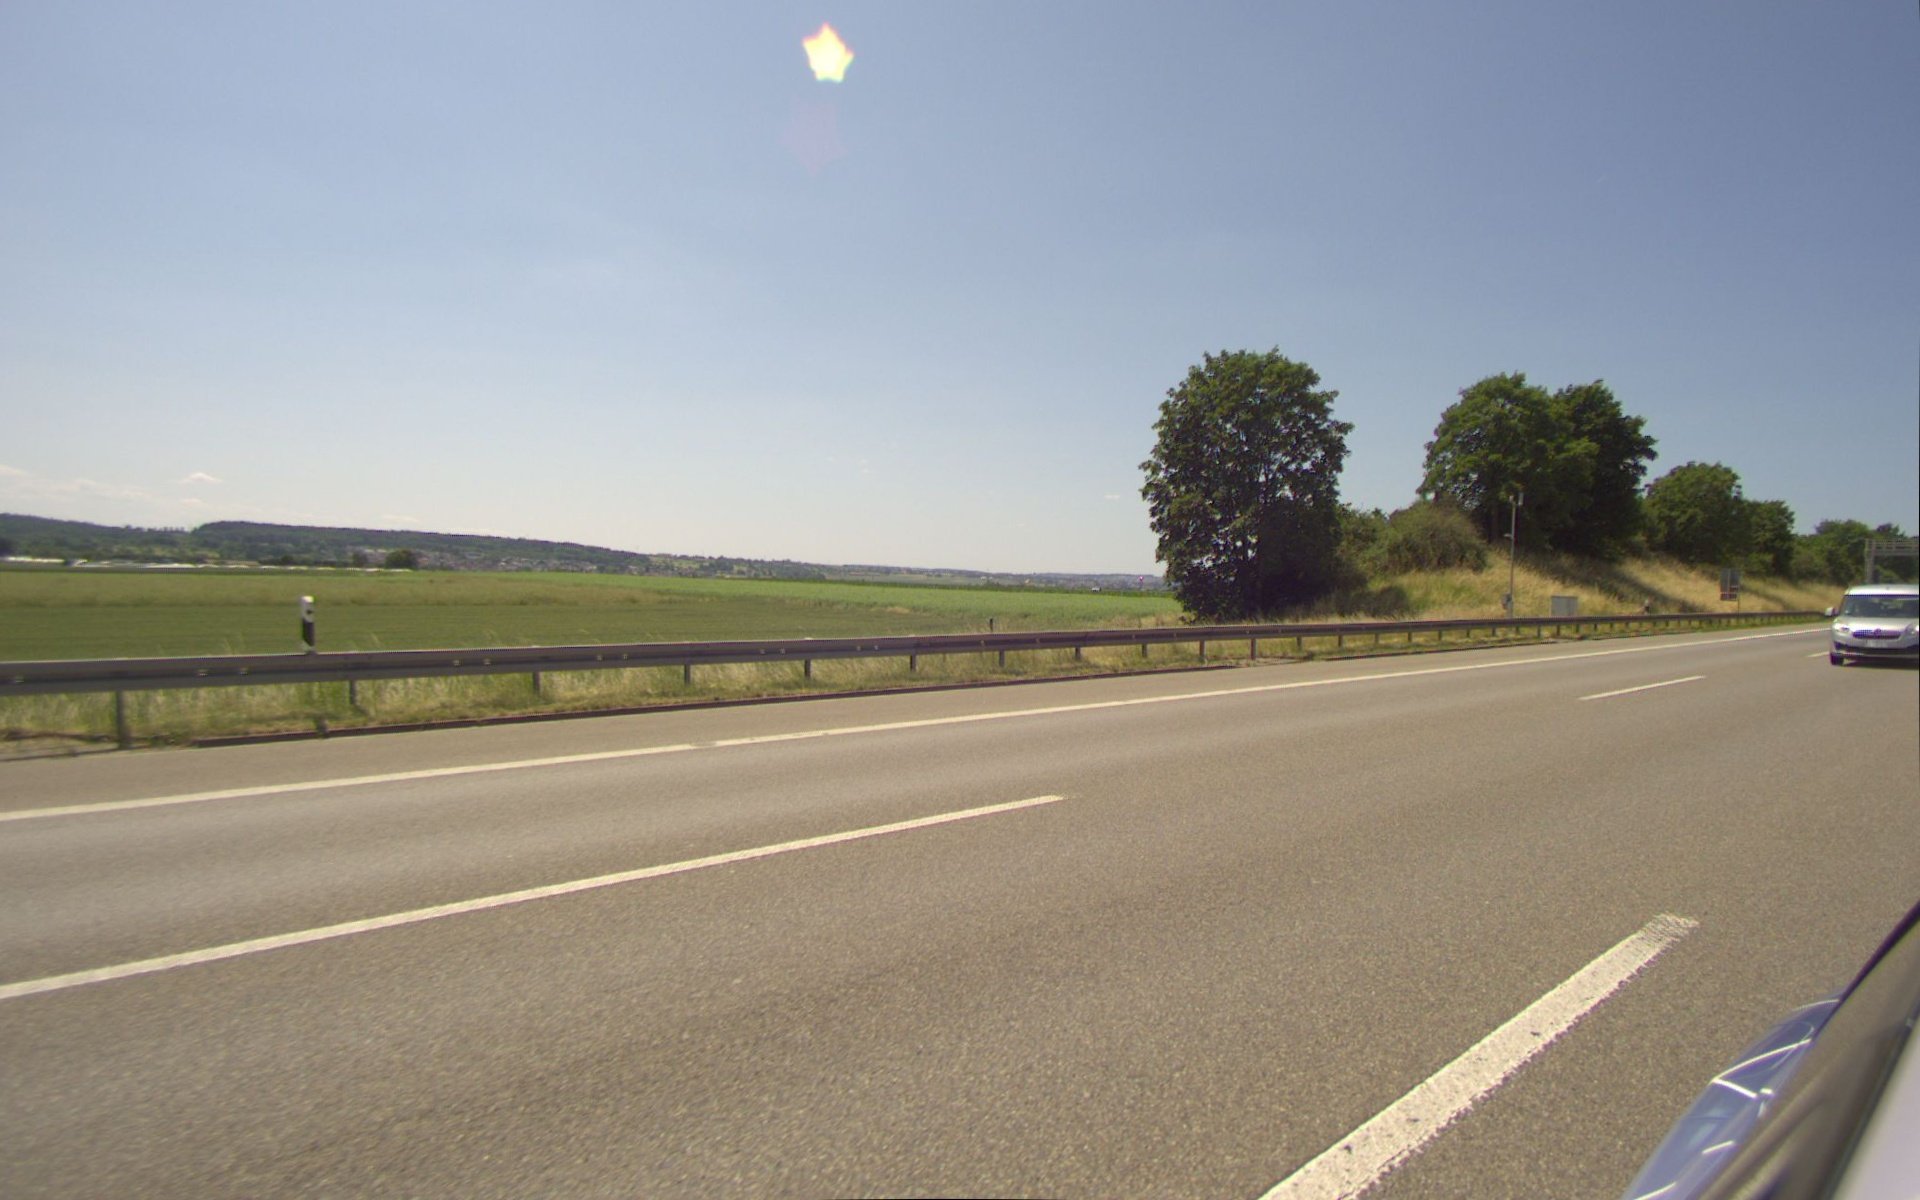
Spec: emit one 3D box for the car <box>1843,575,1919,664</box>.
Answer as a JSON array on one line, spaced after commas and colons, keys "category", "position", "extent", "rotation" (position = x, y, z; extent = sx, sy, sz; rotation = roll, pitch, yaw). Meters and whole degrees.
[{"category": "car", "position": [21.985, 0.399, 23.388], "extent": [5.221, 1.870, 1.809], "rotation": [0, 0, -42]}]
